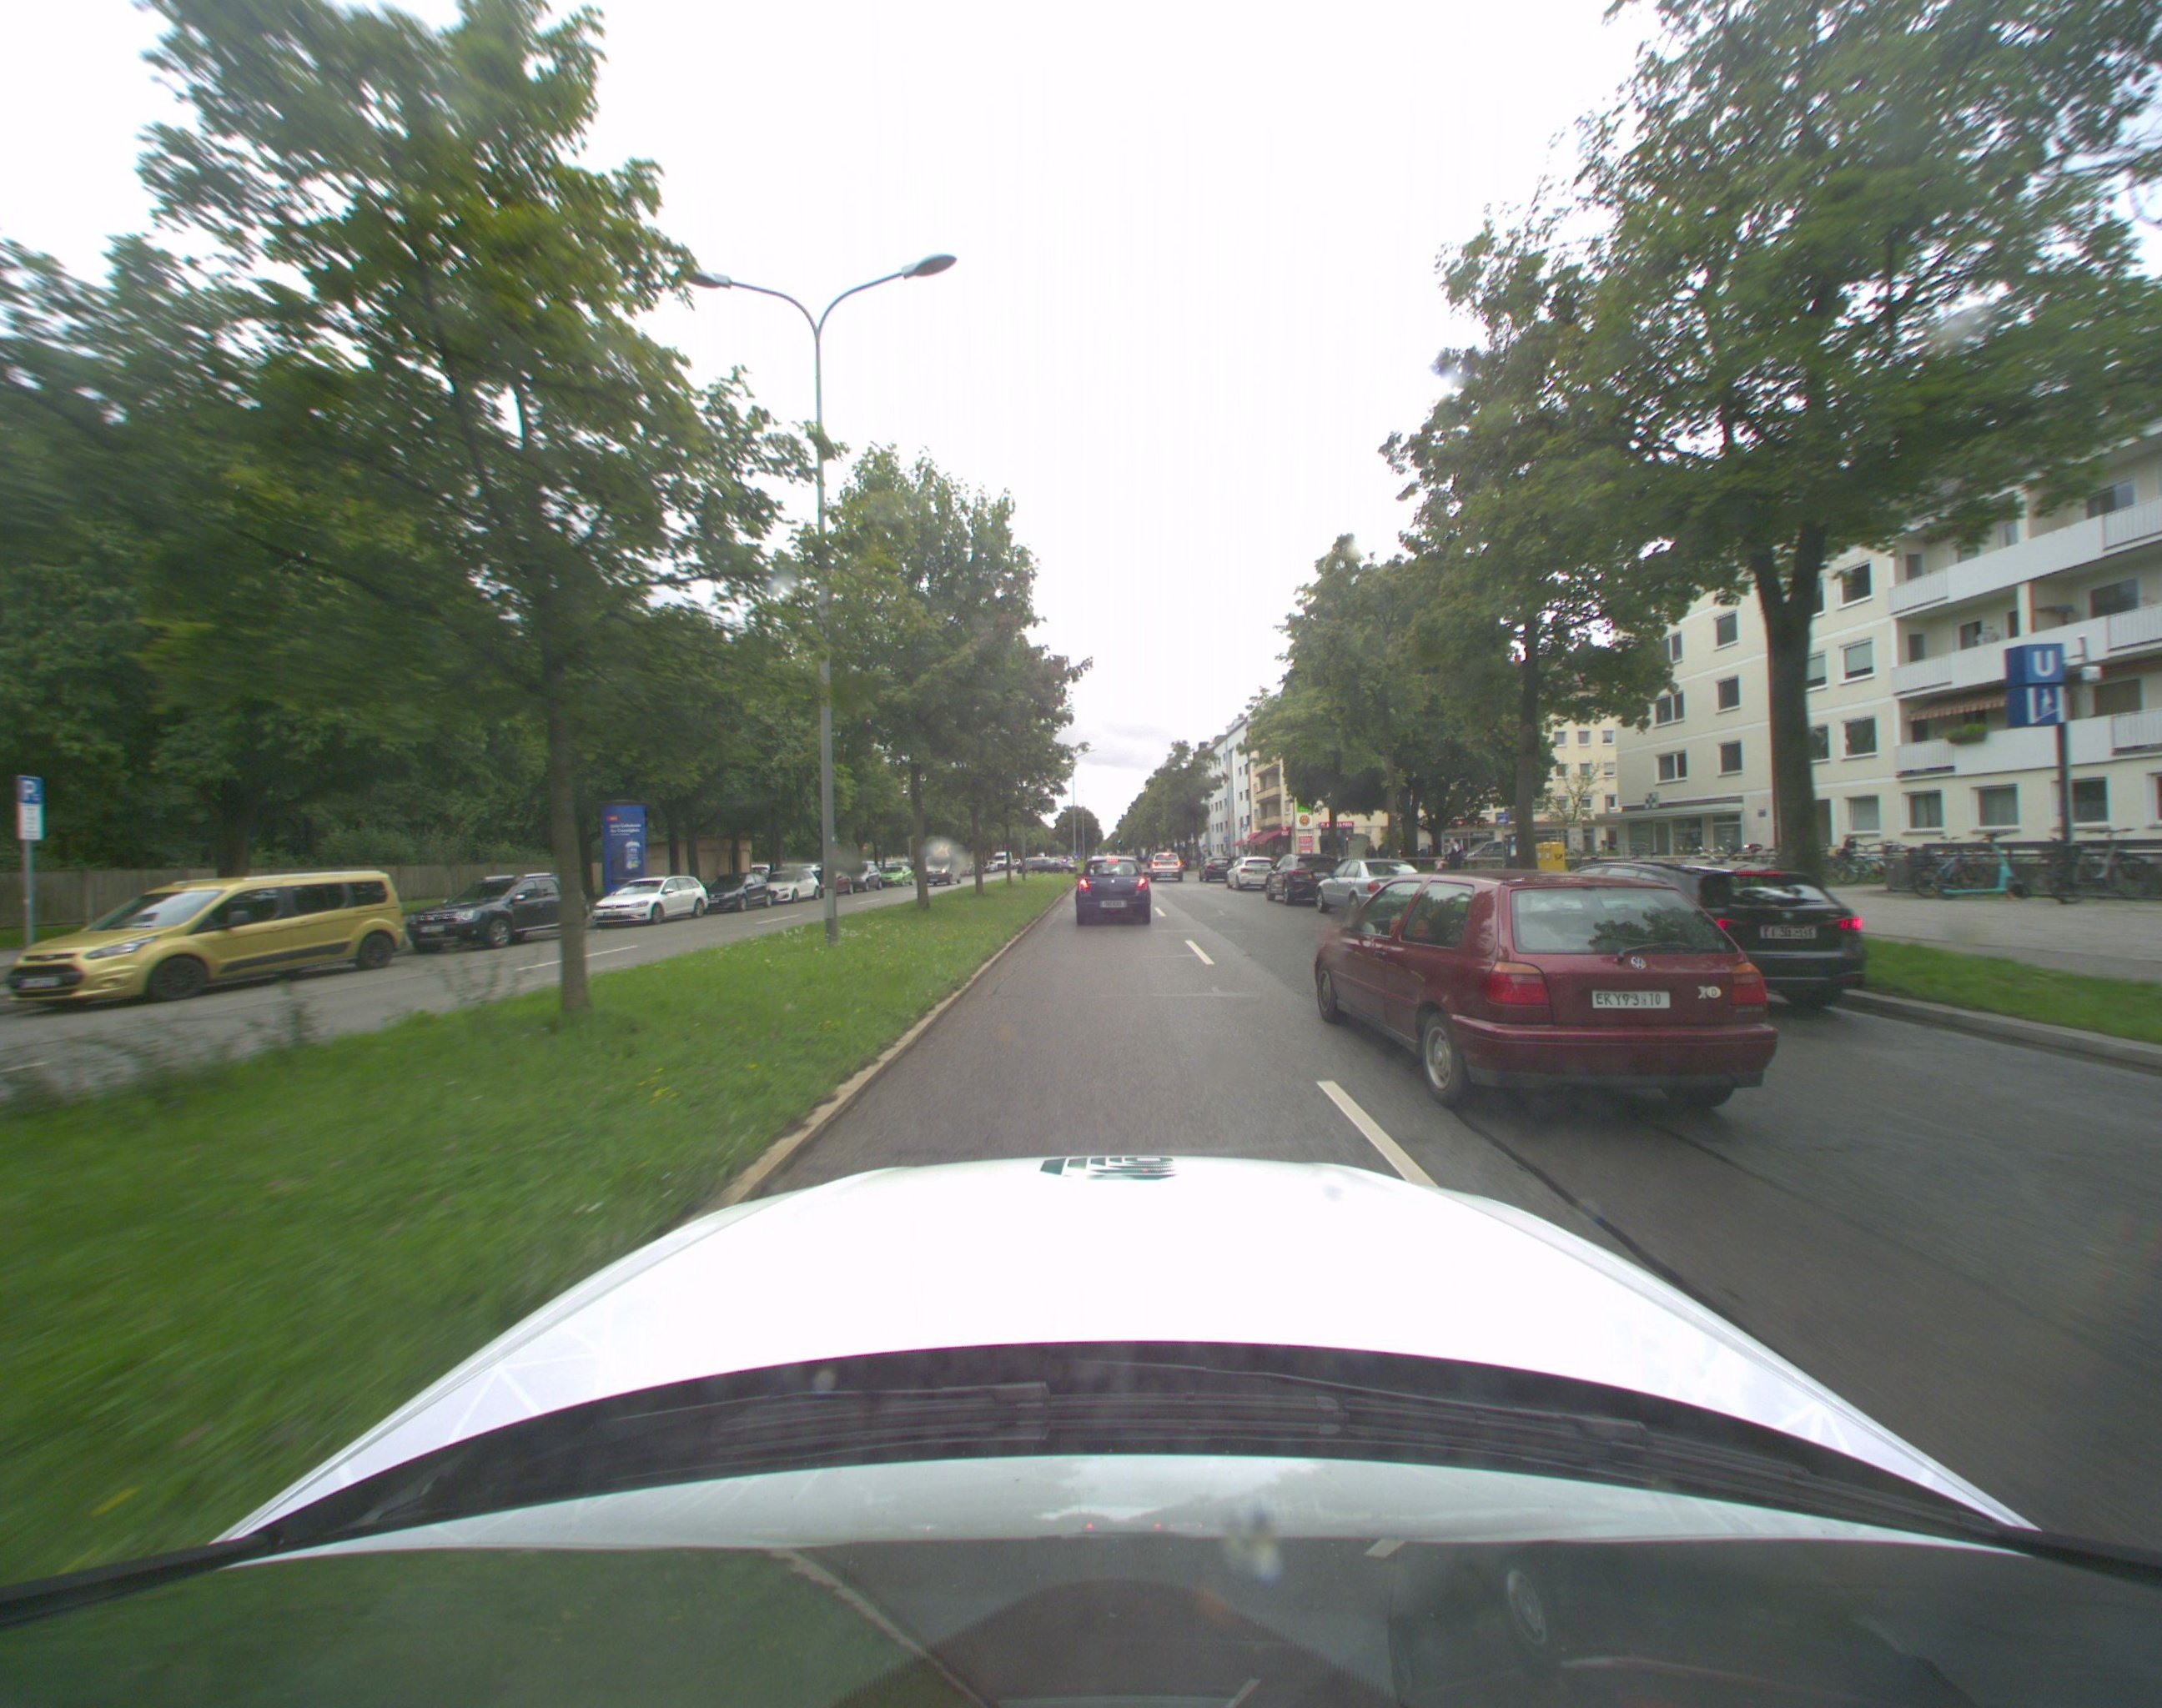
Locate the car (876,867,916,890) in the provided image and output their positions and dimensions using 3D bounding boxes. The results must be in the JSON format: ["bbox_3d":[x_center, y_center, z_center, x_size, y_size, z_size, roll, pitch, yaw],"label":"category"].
[{"bbox_3d":[-12.695,1.677,56.127,1.540,1.409,3.883,-3,0,4],"label":"car"}]

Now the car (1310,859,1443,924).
[{"bbox_3d":[6.963,0.813,19.672,1.631,1.386,4.242,0,0,-1],"label":"car"}]

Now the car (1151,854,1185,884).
[{"bbox_3d":[5.149,0.857,47.908,1.856,1.661,4.416,0,0,7],"label":"car"}]

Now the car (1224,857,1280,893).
[{"bbox_3d":[7.433,0.864,35.757,1.676,1.465,4.138,1,0,1],"label":"car"}]

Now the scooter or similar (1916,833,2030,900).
[{"bbox_3d":[16.615,0.240,15.193,0.360,1.200,1.374,-2,-1,-41],"label":"scooter or similar"}]

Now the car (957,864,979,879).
[{"bbox_3d":[-11.634,1.806,83.862,1.661,1.445,3.879,-1,-1,1],"label":"car"}]

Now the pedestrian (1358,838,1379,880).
[{"bbox_3d":[13.093,0.230,37.136,0.586,1.890,0.902,-2,-1,1],"label":"pedestrian"}]

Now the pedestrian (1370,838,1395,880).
[{"bbox_3d":[13.778,0.228,37.188,0.727,1.890,0.919,-2,-1,0],"label":"pedestrian"}]

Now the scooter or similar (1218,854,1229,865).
[{"bbox_3d":[18.004,0.669,103.108,1.028,1.307,2.757,-2,0,2],"label":"scooter or similar"}]

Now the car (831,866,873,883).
[{"bbox_3d":[-24.172,2.165,86.086,3.911,1.718,1.670,-1,-1,-4],"label":"car"}]

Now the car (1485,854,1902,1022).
[{"bbox_3d":[6.399,0.743,9.234,1.743,1.465,4.179,0,0,3],"label":"car"}]

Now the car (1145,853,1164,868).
[{"bbox_3d":[8.998,0.818,99.657,1.859,1.682,4.224,-2,0,0],"label":"car"}]

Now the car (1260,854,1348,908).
[{"bbox_3d":[6.908,0.782,25.662,1.710,1.533,4.277,0,0,2],"label":"car"}]

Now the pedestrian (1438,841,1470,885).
[{"bbox_3d":[14.802,0.352,32.344,0.836,1.681,0.835,-2,-1,0],"label":"pedestrian"}]

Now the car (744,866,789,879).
[{"bbox_3d":[-36.599,2.190,94.766,4.489,1.476,1.673,-1,-1,2],"label":"car"}]

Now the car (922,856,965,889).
[{"bbox_3d":[-8.834,1.186,52.718,1.793,1.934,4.994,-3,-1,1],"label":"car"}]

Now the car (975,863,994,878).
[{"bbox_3d":[-11.275,1.945,95.586,1.627,1.741,3.879,-1,-1,1],"label":"car"}]

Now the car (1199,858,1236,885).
[{"bbox_3d":[7.688,0.976,46.168,1.611,1.465,3.675,0,-1,2],"label":"car"}]

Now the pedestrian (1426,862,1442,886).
[{"bbox_3d":[14.211,0.798,32.806,0.406,0.949,0.435,-2,-1,0],"label":"pedestrian"}]

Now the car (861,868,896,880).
[{"bbox_3d":[-24.519,2.439,98.536,3.858,1.445,1.670,-1,-1,-4],"label":"car"}]

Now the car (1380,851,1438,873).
[{"bbox_3d":[24.172,0.588,60.050,3.533,1.417,1.873,-2,0,3],"label":"car"}]

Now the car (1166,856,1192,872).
[{"bbox_3d":[9.223,0.931,76.781,1.860,1.417,4.222,-2,0,-1],"label":"car"}]

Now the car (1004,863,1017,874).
[{"bbox_3d":[-10.619,2.123,122.983,1.627,1.583,3.879,-1,-1,1],"label":"car"}]

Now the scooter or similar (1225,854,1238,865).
[{"bbox_3d":[18.133,0.699,98.156,1.028,1.307,2.757,-2,0,2],"label":"scooter or similar"}]

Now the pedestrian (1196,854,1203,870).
[{"bbox_3d":[15.027,1.051,103.289,0.791,2.014,1.006,-2,-1,2],"label":"pedestrian"}]

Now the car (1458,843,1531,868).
[{"bbox_3d":[31.991,0.109,63.079,4.720,1.773,1.871,-2,0,0],"label":"car"}]

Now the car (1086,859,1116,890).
[{"bbox_3d":[1.018,1.010,41.680,1.439,1.483,3.106,-1,0,1],"label":"car"}]

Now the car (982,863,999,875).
[{"bbox_3d":[-11.203,1.857,100.924,1.627,1.431,3.879,-1,-1,1],"label":"car"}]

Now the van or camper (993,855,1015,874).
[{"bbox_3d":[-10.839,1.496,115.112,2.108,2.482,7.453,-1,-1,3],"label":"van or camper"}]

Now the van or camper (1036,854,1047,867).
[{"bbox_3d":[-10.279,1.729,211.905,2.552,3.296,6.938,-1,-1,1],"label":"van or camper"}]

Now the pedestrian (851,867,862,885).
[{"bbox_3d":[-19.719,1.926,71.675,0.724,1.534,0.721,-1,-1,2],"label":"pedestrian"}]

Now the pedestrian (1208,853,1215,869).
[{"bbox_3d":[16.574,0.911,103.460,0.791,2.014,1.006,-2,-1,2],"label":"pedestrian"}]
